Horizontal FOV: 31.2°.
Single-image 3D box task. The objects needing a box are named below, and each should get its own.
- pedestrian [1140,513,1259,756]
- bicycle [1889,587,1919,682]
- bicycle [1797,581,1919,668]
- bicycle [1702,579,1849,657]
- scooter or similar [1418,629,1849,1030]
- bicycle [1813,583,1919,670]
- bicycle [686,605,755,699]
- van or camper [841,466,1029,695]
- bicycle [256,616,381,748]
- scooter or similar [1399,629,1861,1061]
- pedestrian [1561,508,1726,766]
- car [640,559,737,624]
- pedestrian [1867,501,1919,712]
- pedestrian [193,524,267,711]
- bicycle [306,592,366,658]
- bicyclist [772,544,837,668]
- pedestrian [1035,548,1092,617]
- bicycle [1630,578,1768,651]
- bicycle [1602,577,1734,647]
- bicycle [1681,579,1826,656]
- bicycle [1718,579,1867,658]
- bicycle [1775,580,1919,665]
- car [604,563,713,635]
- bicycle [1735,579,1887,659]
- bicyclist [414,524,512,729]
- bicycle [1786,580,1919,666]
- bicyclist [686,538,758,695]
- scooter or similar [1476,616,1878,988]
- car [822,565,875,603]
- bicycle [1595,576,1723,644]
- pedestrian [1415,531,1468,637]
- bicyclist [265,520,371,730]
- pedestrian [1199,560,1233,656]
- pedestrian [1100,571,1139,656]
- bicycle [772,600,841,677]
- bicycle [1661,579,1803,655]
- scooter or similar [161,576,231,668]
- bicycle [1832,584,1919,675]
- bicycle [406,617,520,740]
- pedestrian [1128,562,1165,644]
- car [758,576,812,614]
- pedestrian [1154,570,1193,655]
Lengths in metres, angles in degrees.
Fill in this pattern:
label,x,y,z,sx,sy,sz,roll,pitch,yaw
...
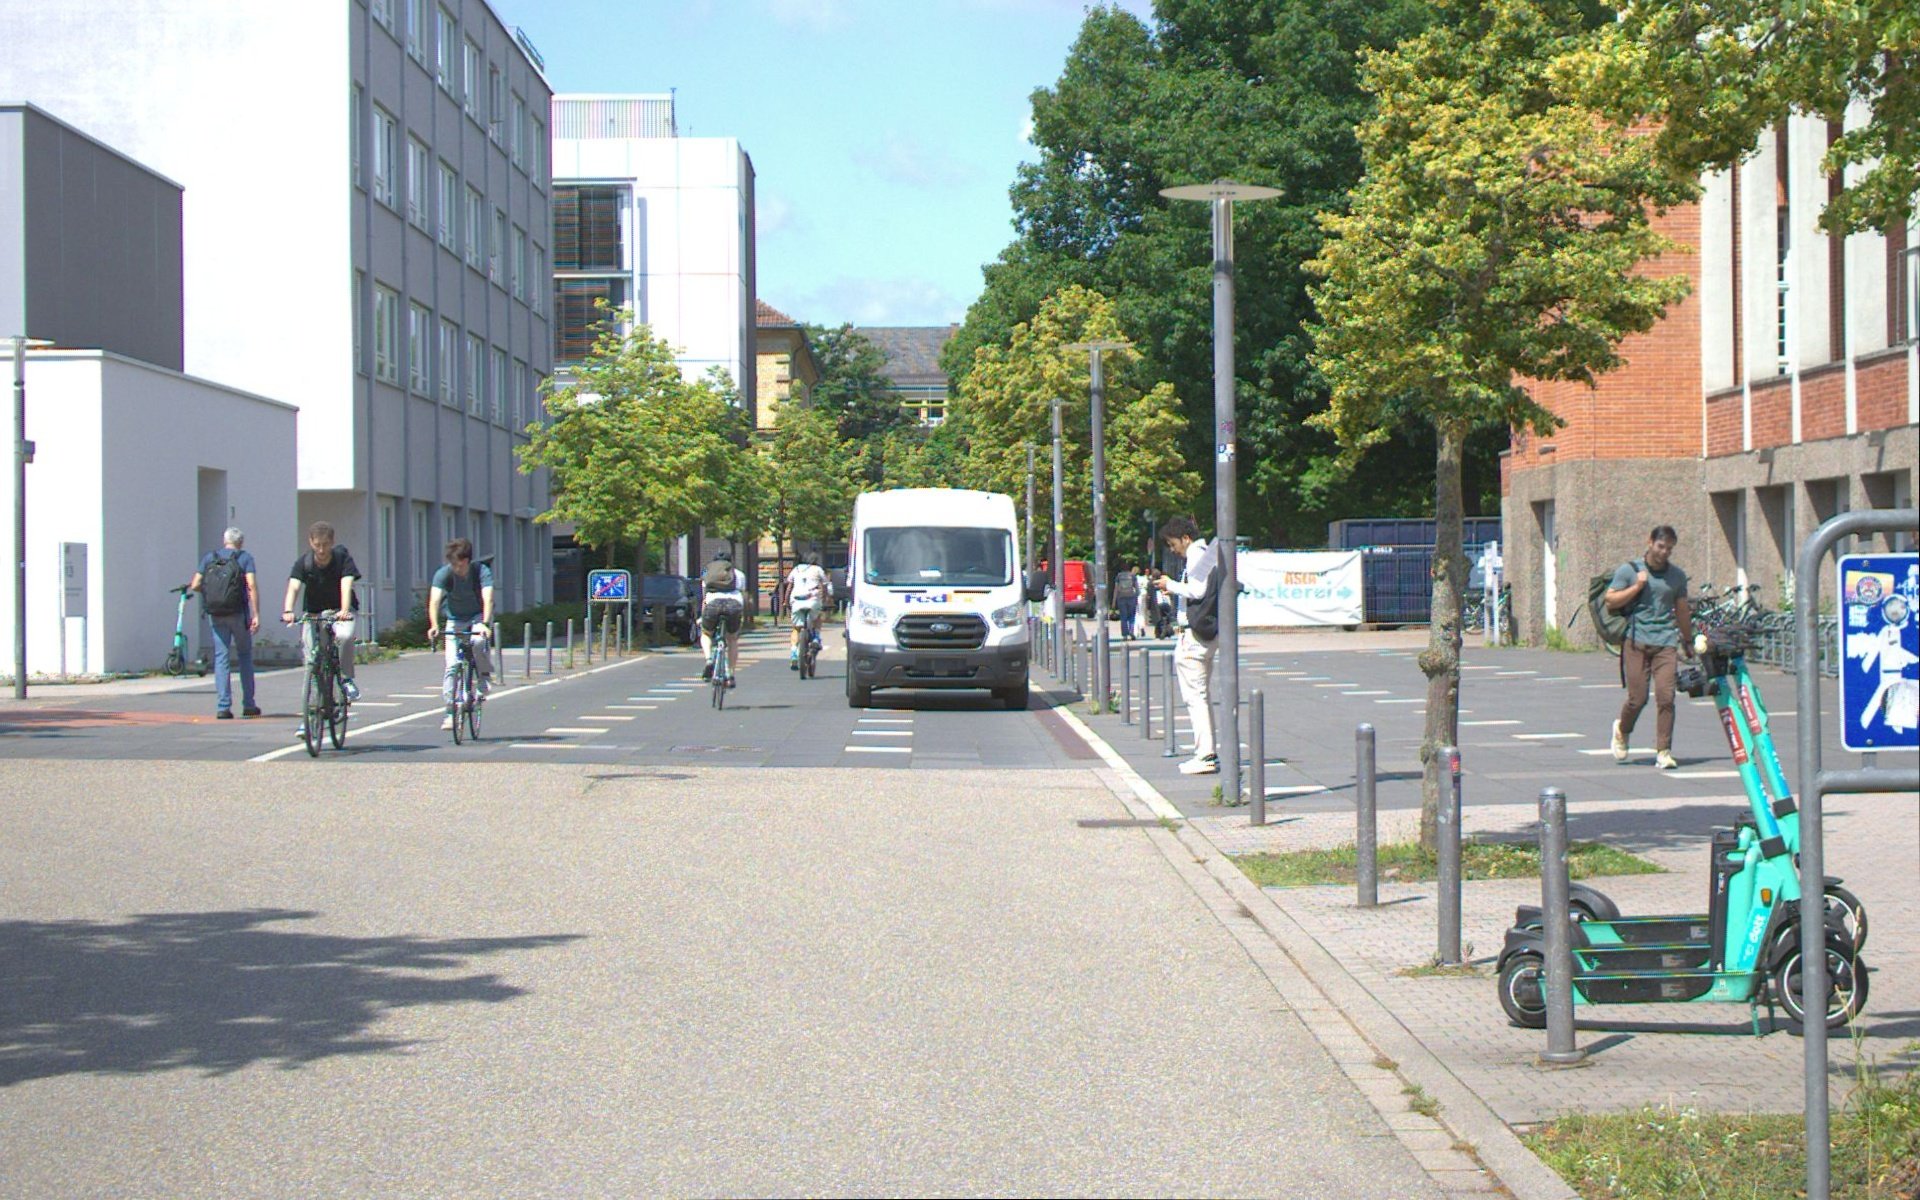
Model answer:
label,x,y,z,sx,sy,sz,roll,pitch,yaw
pedestrian,1.730,0.246,24.966,0.702,1.689,0.962,-3,0,0
bicycle,10.863,0.342,36.521,1.809,0.981,0.560,-2,0,-1
bicycle,10.996,0.287,41.086,1.809,0.981,0.560,-2,0,-1
bicycle,10.920,0.244,46.061,1.809,0.981,0.560,-2,0,-1
scooter or similar,2.257,0.735,11.534,1.263,1.260,0.649,0,0,32
bicycle,11.038,0.299,40.485,1.809,0.981,0.560,-2,0,-1
bicycle,-2.626,0.569,37.595,0.706,0.990,1.911,1,-1,-5
van or camper,-0.336,-0.199,39.211,1.993,2.437,4.570,1,0,-2
bicycle,-5.009,0.622,26.937,0.677,0.961,2.003,1,0,-3
scooter or similar,2.092,0.729,10.760,1.263,1.260,0.649,0,0,32
pedestrian,4.705,0.243,23.731,0.853,1.727,1.160,-1,0,-2
car,-6.541,-0.221,83.212,1.795,1.525,4.000,-1,1,3
pedestrian,8.679,0.048,30.703,0.790,1.853,1.116,-1,0,-4
pedestrian,-7.050,0.174,33.176,0.666,1.779,0.985,0,-1,-13
bicycle,-9.746,0.383,53.718,0.523,0.981,1.632,-2,1,4
bicyclist,-2.278,0.077,50.409,0.771,1.750,0.848,4,1,2
pedestrian,3.157,-0.537,105.037,1.499,1.989,1.646,-3,1,-2
bicycle,10.511,0.206,48.932,1.809,0.981,0.560,-2,0,-1
bicycle,10.553,0.174,51.269,1.809,0.981,0.560,-2,0,-1
bicycle,10.768,0.237,46.668,1.809,0.981,0.560,-2,0,-1
bicycle,11.009,0.240,45.473,1.809,0.981,0.560,-2,0,-1
bicycle,11.013,0.273,42.316,1.809,0.981,0.560,-2,0,-1
car,-6.618,-0.035,75.798,1.795,1.525,4.000,-1,1,3
bicycle,11.097,0.245,44.862,1.809,0.981,0.560,-2,0,-1
bicyclist,-4.174,0.218,28.932,0.667,1.676,0.993,-1,0,-1
bicycle,11.005,0.276,41.674,1.809,0.981,0.560,-2,0,-1
bicyclist,-2.591,0.190,37.365,0.717,1.657,1.095,2,-1,-4
scooter or similar,2.573,0.694,12.347,1.263,1.260,0.638,0,0,32
car,-4.580,-0.671,141.661,1.795,1.525,4.000,-1,1,3
bicycle,10.614,0.151,52.232,1.809,0.981,0.560,-2,0,-1
pedestrian,8.528,-0.291,60.824,0.852,1.853,1.116,-1,0,11
bicyclist,-5.007,0.189,26.842,0.643,1.596,0.909,-1,0,-2
pedestrian,4.992,0.155,67.002,0.576,1.853,0.570,-1,0,-3
pedestrian,3.515,0.288,75.810,0.790,1.853,1.243,-1,0,1
bicycle,-2.241,0.555,50.281,0.808,0.998,2.124,1,2,3
bicycle,10.636,0.226,47.398,1.809,0.981,0.560,-2,0,-1
scooter or similar,-10.303,0.286,46.382,0.378,1.212,1.204,0,0,16
bicycle,10.690,0.312,38.251,1.809,0.981,0.560,-2,0,-1
bicycle,-4.171,0.642,28.951,0.677,0.961,2.003,1,0,-1
pedestrian,4.290,0.069,79.017,0.790,1.853,1.026,-1,0,1
car,-7.220,-0.233,142.212,1.795,1.525,4.000,-1,1,3
pedestrian,4.693,0.265,75.562,0.790,1.853,1.026,-1,0,1
